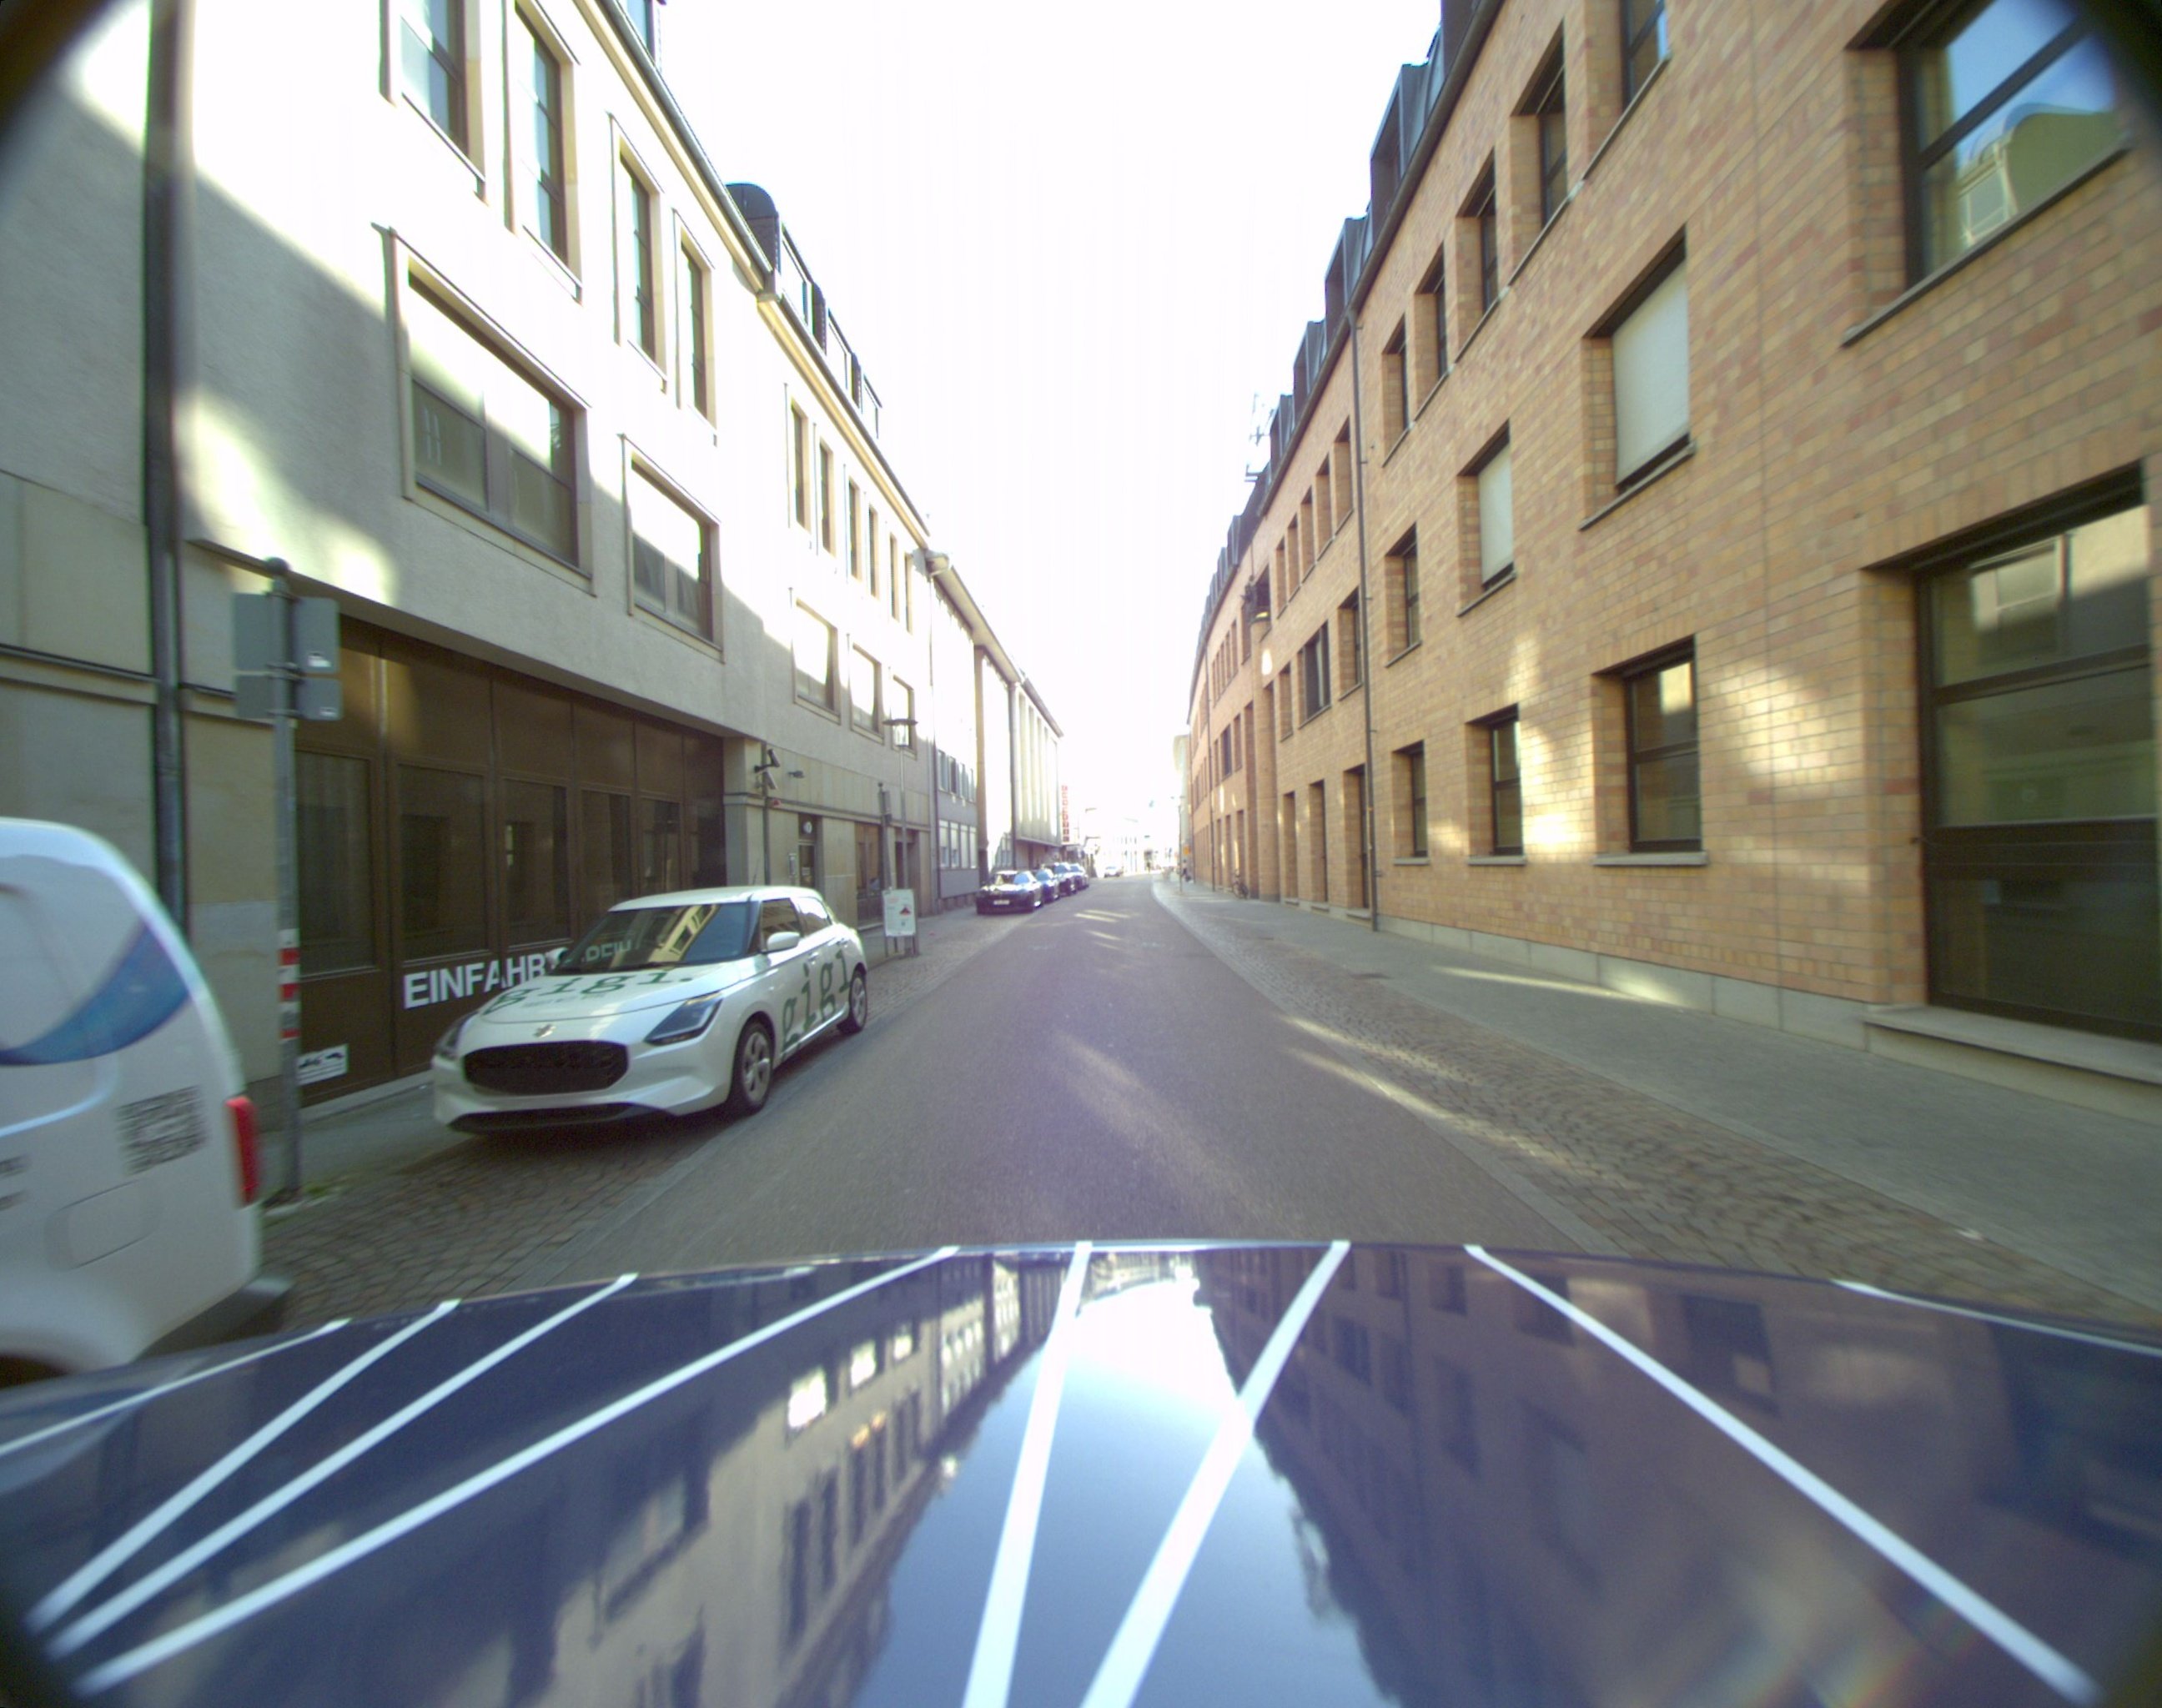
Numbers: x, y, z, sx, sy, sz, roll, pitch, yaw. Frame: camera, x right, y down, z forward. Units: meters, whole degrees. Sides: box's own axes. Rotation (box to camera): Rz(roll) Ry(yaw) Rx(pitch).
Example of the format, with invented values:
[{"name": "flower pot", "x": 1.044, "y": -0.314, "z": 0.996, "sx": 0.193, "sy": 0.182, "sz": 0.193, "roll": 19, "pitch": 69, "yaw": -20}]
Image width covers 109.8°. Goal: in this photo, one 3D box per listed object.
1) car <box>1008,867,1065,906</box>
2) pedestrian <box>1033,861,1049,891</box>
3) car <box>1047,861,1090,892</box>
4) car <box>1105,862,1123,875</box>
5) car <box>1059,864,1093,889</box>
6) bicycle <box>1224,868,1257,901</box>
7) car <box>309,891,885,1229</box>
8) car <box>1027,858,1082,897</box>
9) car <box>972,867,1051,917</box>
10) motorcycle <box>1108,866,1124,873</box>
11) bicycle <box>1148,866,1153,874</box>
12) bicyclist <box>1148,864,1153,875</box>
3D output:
[{"name": "car", "x": -1.857, "y": 1.368, "z": 33.155, "sx": 1.811, "sy": 1.404, "sz": 4.791, "roll": -4, "pitch": -1, "yaw": 3}, {"name": "pedestrian", "x": -2.306, "y": 1.275, "z": 44.111, "sx": 0.790, "sy": 1.711, "sz": 0.747, "roll": 0, "pitch": 0, "yaw": 4}, {"name": "car", "x": -0.691, "y": 1.313, "z": 46.354, "sx": 1.998, "sy": 1.692, "sz": 4.845, "roll": -4, "pitch": -1, "yaw": 5}, {"name": "car", "x": 3.989, "y": 1.745, "z": 92.299, "sx": 1.846, "sy": 1.453, "sz": 4.001, "roll": -3, "pitch": -1, "yaw": 6}, {"name": "car", "x": -0.290, "y": 1.504, "z": 52.102, "sx": 1.827, "sy": 1.495, "sz": 4.602, "roll": -5, "pitch": -1, "yaw": 5}, {"name": "bicycle", "x": 5.972, "y": 1.138, "z": 28.526, "sx": 0.633, "sy": 1.155, "sz": 1.803, "roll": -4, "pitch": -1, "yaw": -5}, {"name": "car", "x": -3.048, "y": 1.167, "z": 6.030, "sx": 1.845, "sy": 1.469, "sz": 4.168, "roll": -4, "pitch": -1, "yaw": -1}, {"name": "car", "x": -1.299, "y": 1.173, "z": 39.315, "sx": 2.108, "sy": 1.775, "sz": 5.054, "roll": -3, "pitch": -1, "yaw": 5}, {"name": "car", "x": -2.351, "y": 1.274, "z": 27.138, "sx": 1.898, "sy": 1.444, "sz": 5.227, "roll": -3, "pitch": -1, "yaw": 4}, {"name": "motorcycle", "x": 4.548, "y": 2.034, "z": 99.500, "sx": 1.995, "sy": 0.950, "sz": 0.646, "roll": -2, "pitch": 0, "yaw": 20}, {"name": "bicycle", "x": 10.111, "y": 2.348, "z": 110.104, "sx": 0.652, "sy": 1.125, "sz": 1.737, "roll": 2, "pitch": 0, "yaw": 8}, {"name": "bicyclist", "x": 10.114, "y": 2.221, "z": 110.095, "sx": 0.663, "sy": 1.633, "sz": 0.926, "roll": 2, "pitch": 1, "yaw": 8}]
